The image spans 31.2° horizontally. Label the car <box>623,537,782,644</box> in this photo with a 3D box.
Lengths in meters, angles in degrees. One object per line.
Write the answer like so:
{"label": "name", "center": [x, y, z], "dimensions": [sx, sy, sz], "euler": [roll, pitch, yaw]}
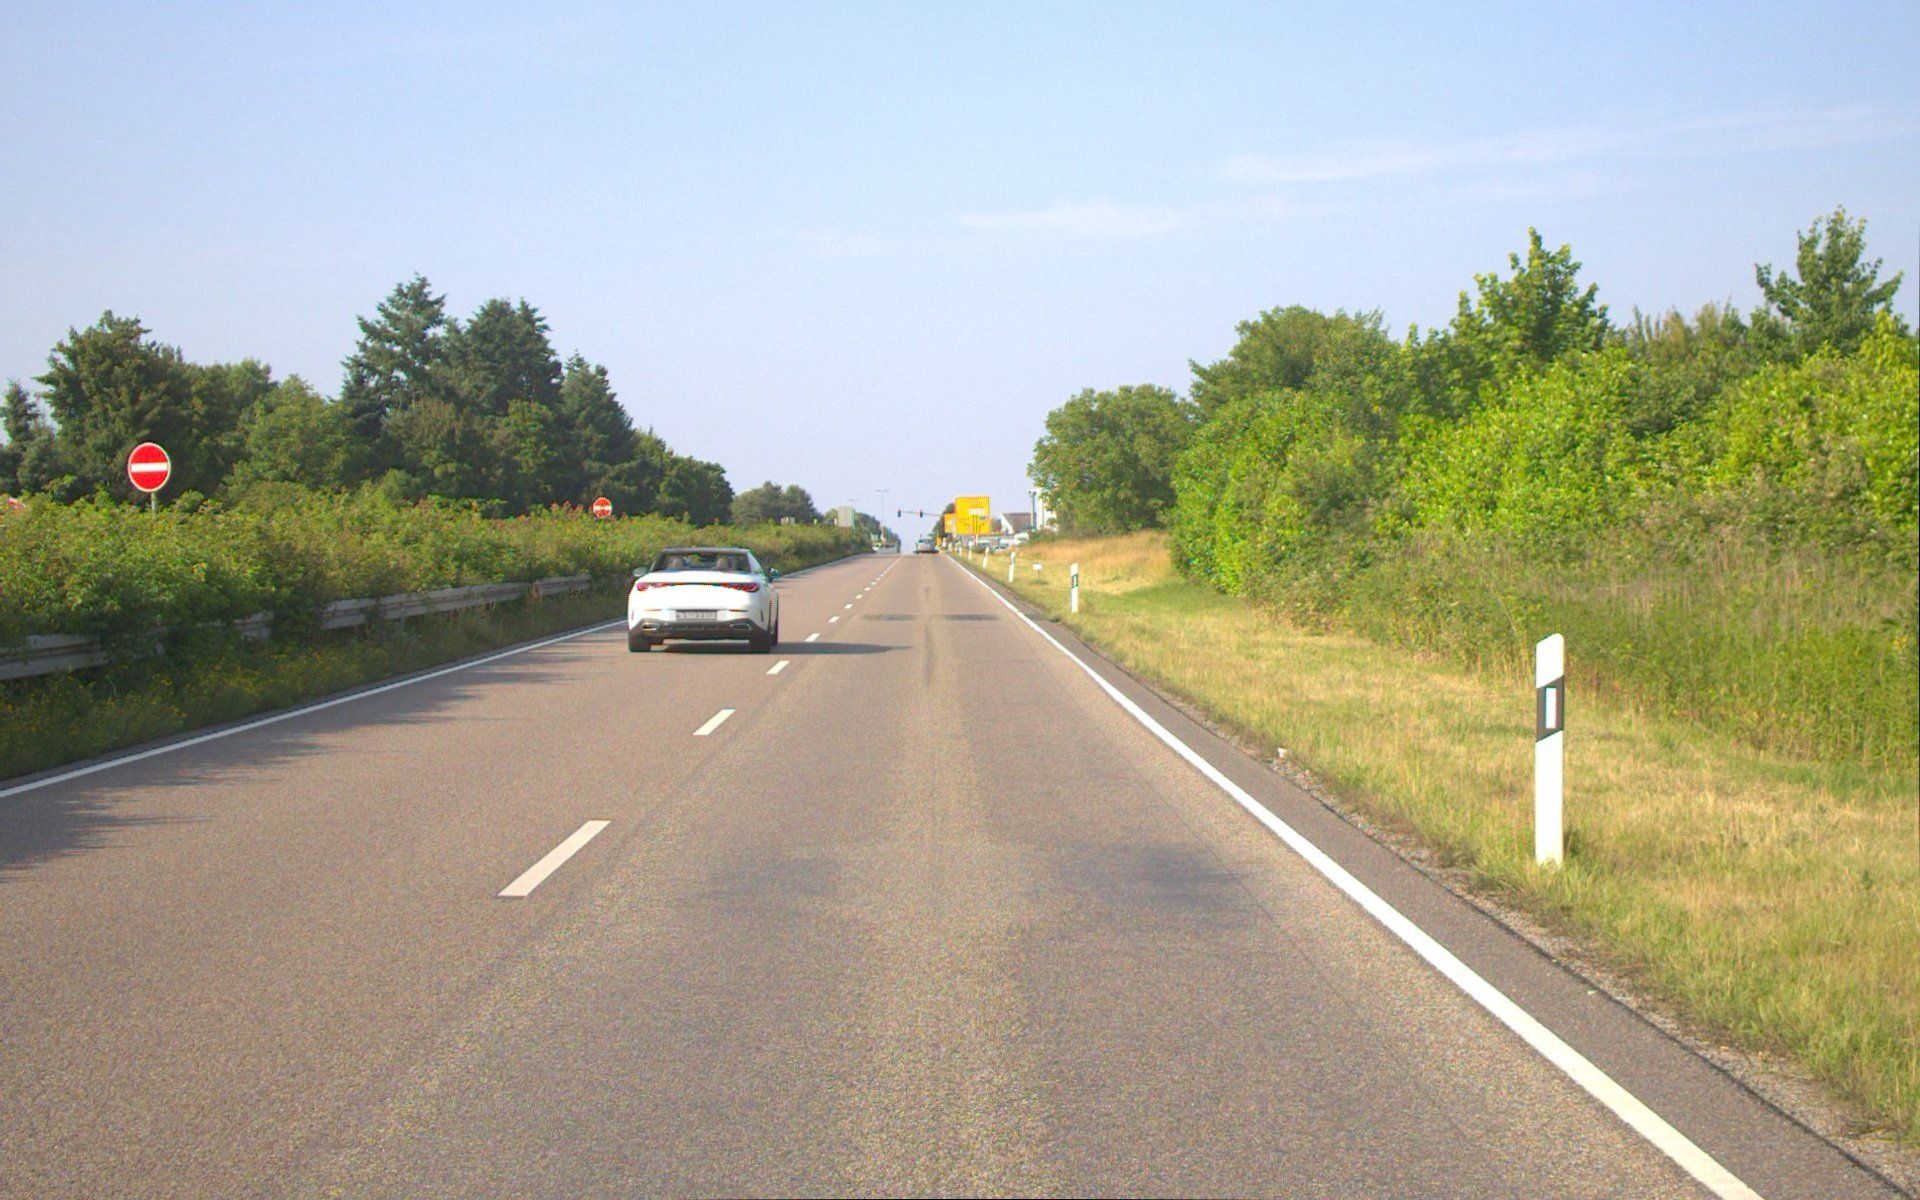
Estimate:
{"label": "car", "center": [-3.408, -0.153, 46.310], "dimensions": [1.771, 1.333, 4.950], "euler": [1, 1, 0]}
